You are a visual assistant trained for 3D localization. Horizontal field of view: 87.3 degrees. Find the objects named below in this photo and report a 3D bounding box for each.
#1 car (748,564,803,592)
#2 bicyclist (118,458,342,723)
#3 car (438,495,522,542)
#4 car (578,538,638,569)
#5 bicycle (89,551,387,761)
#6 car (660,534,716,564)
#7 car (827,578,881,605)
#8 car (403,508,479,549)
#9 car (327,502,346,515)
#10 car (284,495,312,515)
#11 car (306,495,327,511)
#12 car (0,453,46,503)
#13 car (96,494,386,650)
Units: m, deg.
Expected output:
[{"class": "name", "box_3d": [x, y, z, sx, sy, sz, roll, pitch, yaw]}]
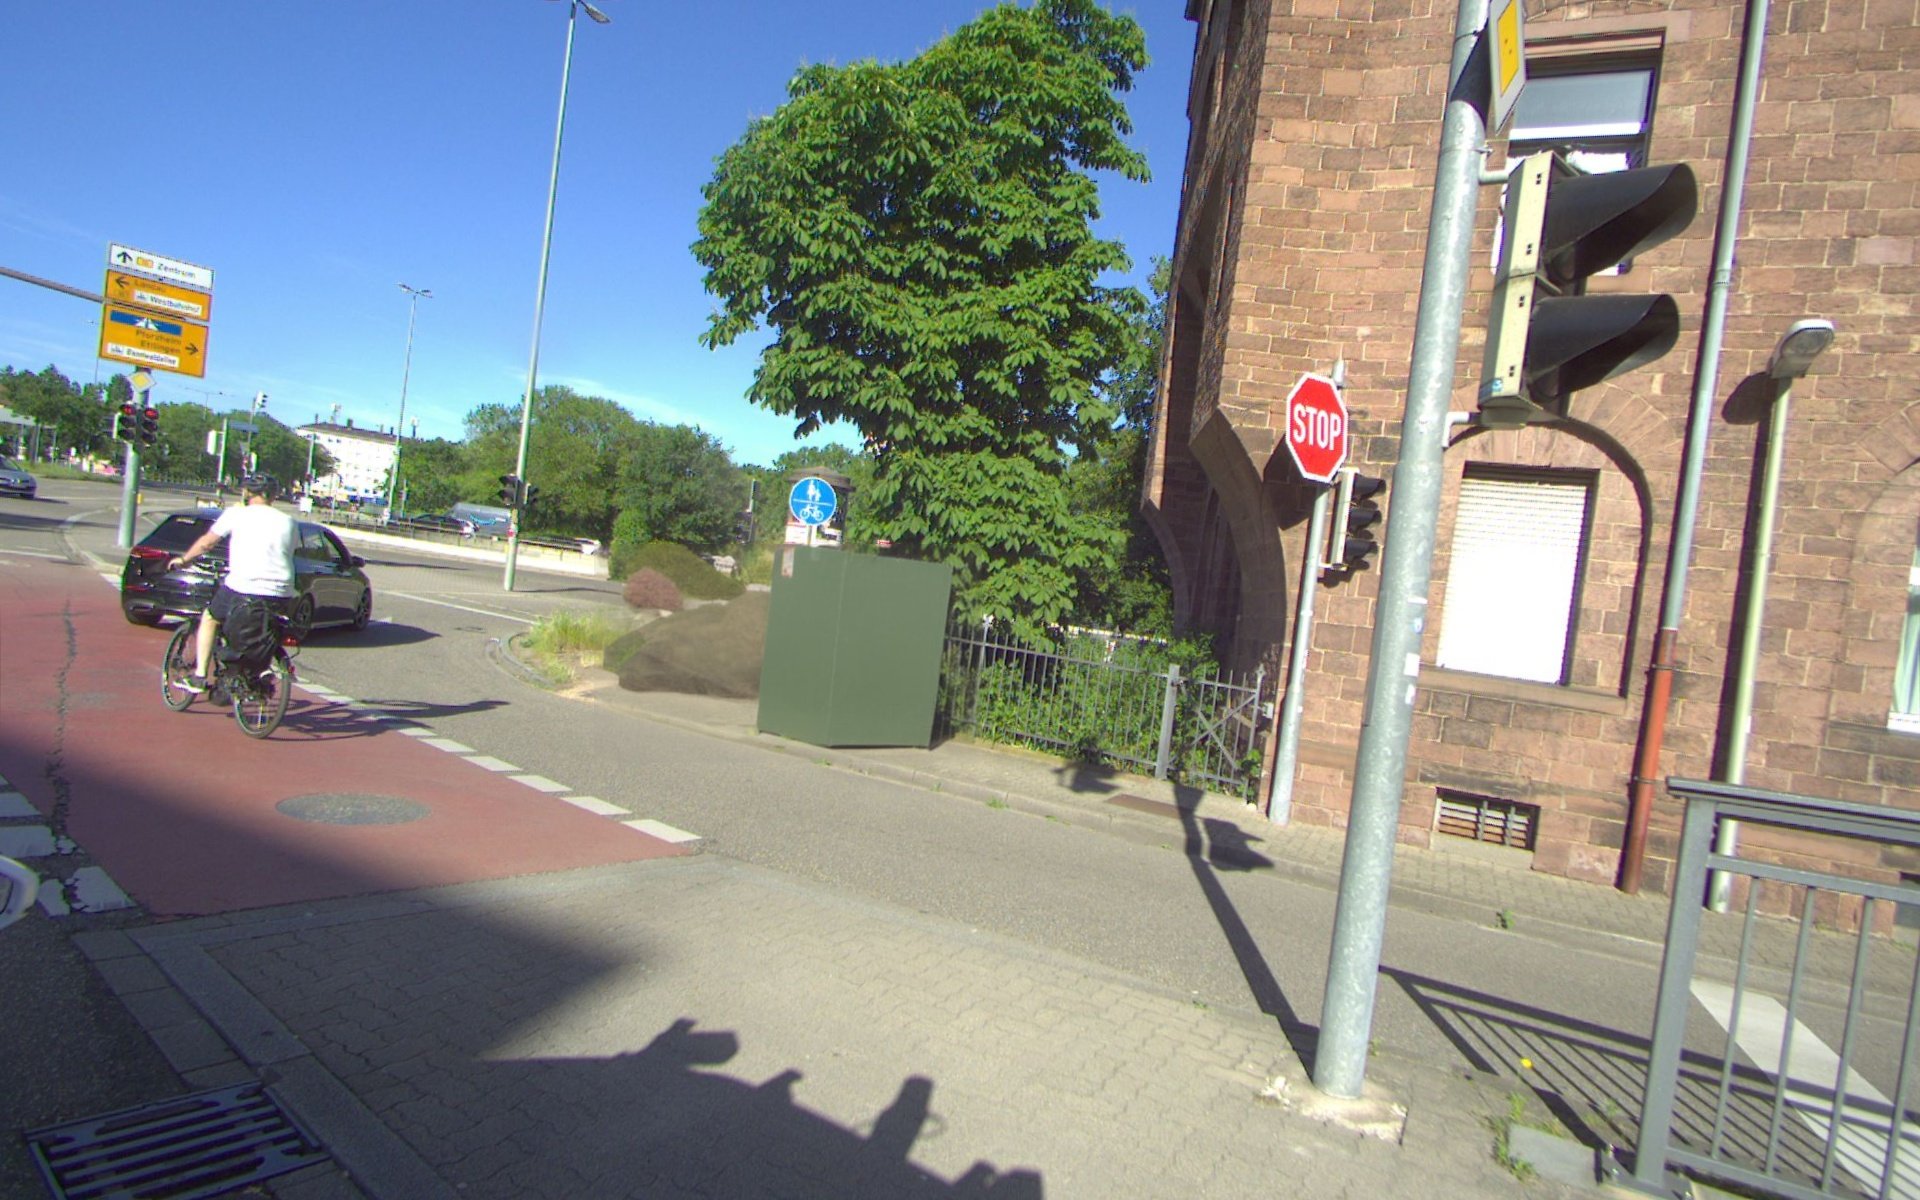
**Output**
[{"class": "car", "box_3d": [-14.591, -1.749, 79.509, 3.941, 1.681, 1.993, 7, -1, -18]}, {"class": "bicyclist", "box_3d": [-5.239, -0.063, 7.224, 1.067, 1.725, 0.800, 7, 0, 32]}, {"class": "car", "box_3d": [-35.139, -5.918, 73.784, 4.801, 2.638, 2.260, 7, -1, -7]}, {"class": "car", "box_3d": [-26.393, -3.477, 75.572, 3.939, 1.770, 1.994, 7, -1, -16]}, {"class": "bicycle", "box_3d": [-5.176, 0.352, 7.154, 2.362, 1.124, 0.800, 7, -1, 32]}, {"class": "car", "box_3d": [-20.863, -3.917, 77.181, 3.939, 1.704, 1.851, 7, -1, -16]}, {"class": "car", "box_3d": [-8.619, -0.689, 81.563, 3.939, 1.681, 1.994, 7, -1, -16]}, {"class": "car", "box_3d": [-34.070, -4.670, 66.102, 3.939, 2.037, 1.994, 7, -1, -16]}, {"class": "car", "box_3d": [-96.138, -14.164, 155.160, 1.975, 1.661, 3.973, 7, 1, -26]}, {"class": "car", "box_3d": [-78.757, -11.285, 119.721, 1.975, 1.815, 3.978, 7, -2, -25]}, {"class": "car", "box_3d": [-87.262, -13.185, 136.483, 1.977, 1.817, 3.969, 6, 1, -29]}, {"class": "car", "box_3d": [-35.976, -4.679, 36.871, 4.026, 1.603, 1.825, 8, 1, 17]}, {"class": "car", "box_3d": [-9.259, -0.343, 13.391, 1.731, 1.511, 3.987, 9, -1, -16]}]
